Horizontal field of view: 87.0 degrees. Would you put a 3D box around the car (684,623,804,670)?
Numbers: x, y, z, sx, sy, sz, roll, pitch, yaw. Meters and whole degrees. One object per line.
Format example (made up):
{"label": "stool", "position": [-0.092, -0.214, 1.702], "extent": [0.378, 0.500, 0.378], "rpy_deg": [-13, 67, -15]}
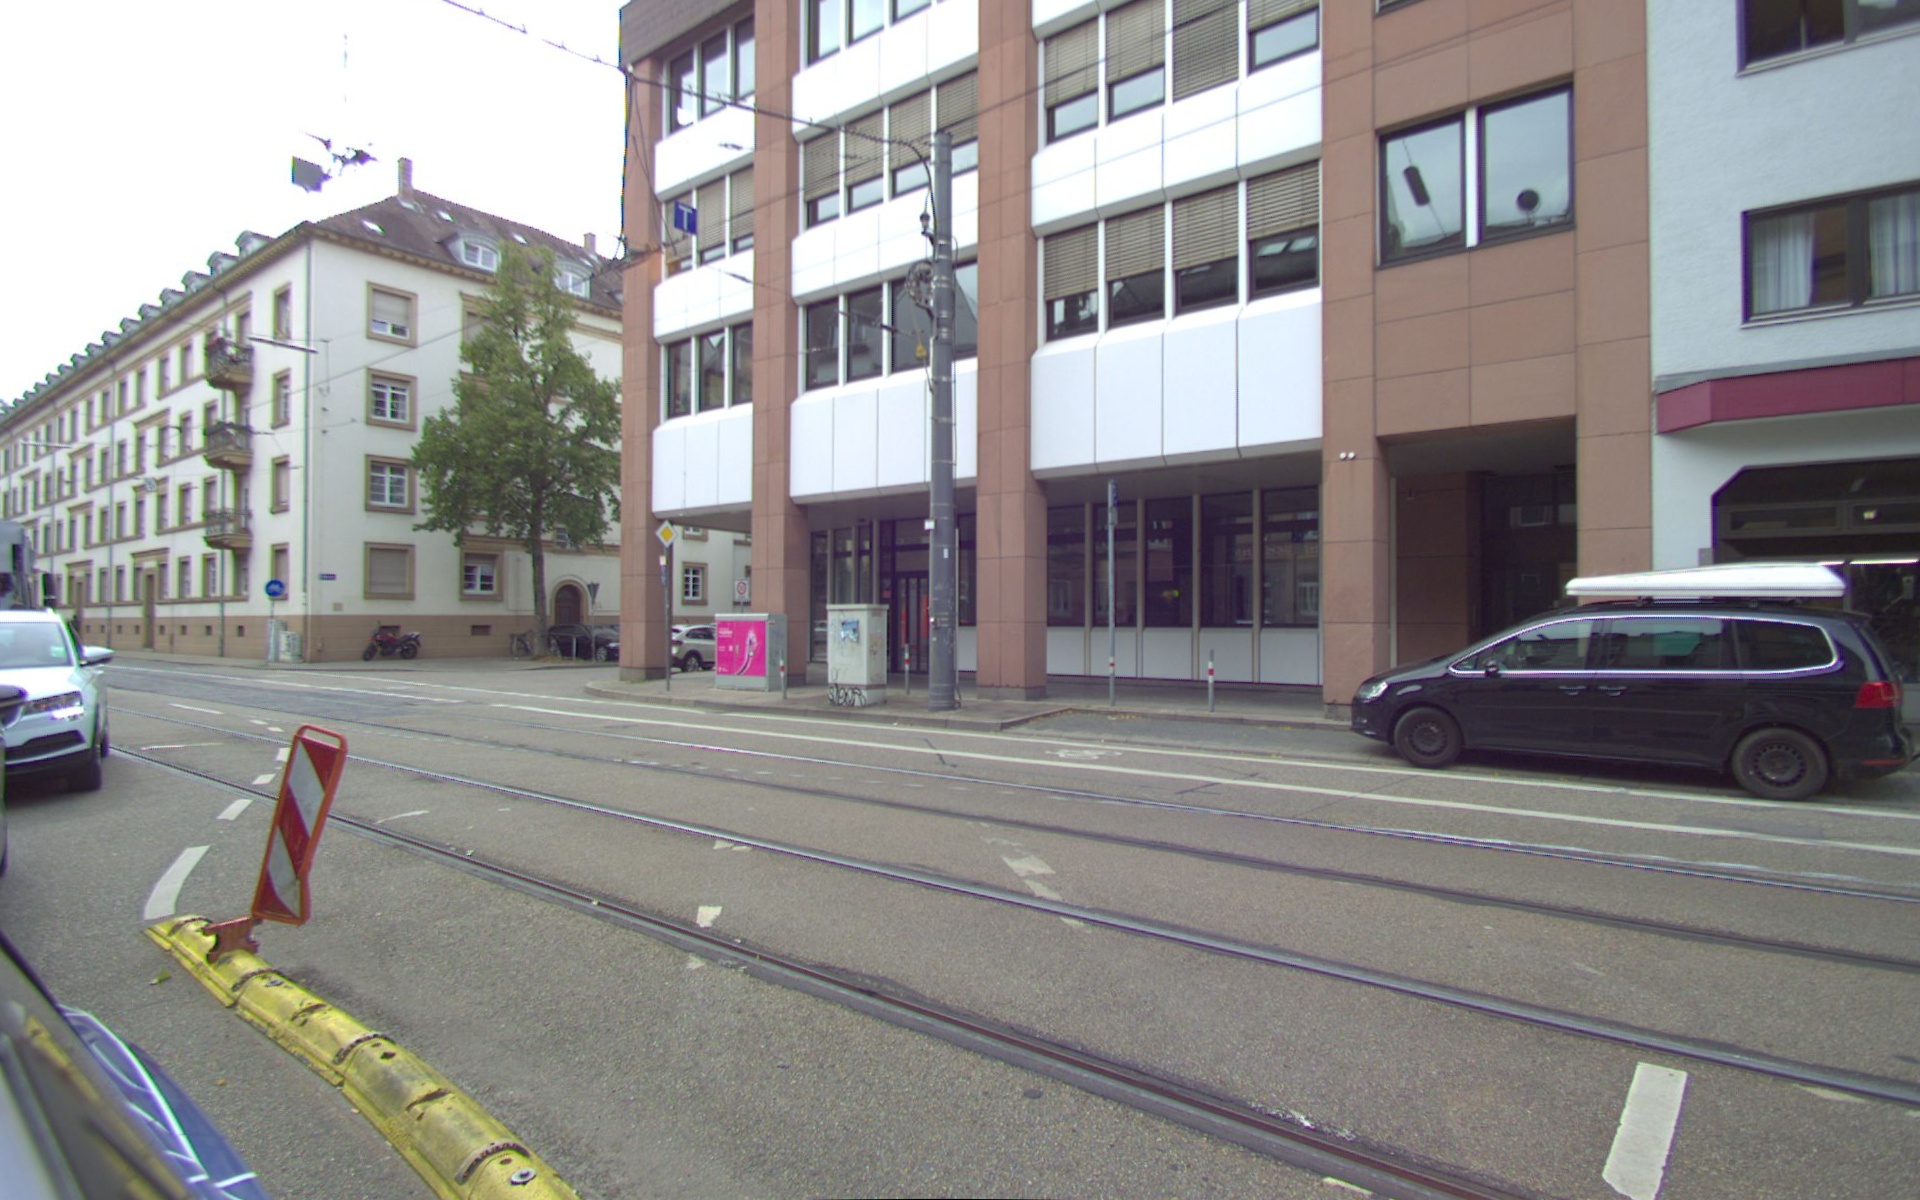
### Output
{"label": "car", "position": [-7.952, 1.681, 37.469], "extent": [3.985, 1.549, 1.777], "rpy_deg": [-1, -1, -40]}

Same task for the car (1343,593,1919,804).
{"label": "car", "position": [6.562, 0.834, 10.217], "extent": [4.694, 1.659, 1.789], "rpy_deg": [-2, 0, 40]}

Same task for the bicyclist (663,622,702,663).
{"label": "bicyclist", "position": [-10.218, 1.561, 37.250], "extent": [1.241, 1.473, 0.678], "rpy_deg": [1, -3, -43]}

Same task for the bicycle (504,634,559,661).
{"label": "bicycle", "position": [-17.522, 1.926, 41.423], "extent": [0.792, 1.094, 1.900], "rpy_deg": [-2, -2, 39]}

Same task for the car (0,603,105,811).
{"label": "car", "position": [-9.149, 0.880, 9.200], "extent": [4.284, 1.603, 1.749], "rpy_deg": [-2, -1, 45]}

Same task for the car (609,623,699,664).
{"label": "car", "position": [-12.254, 1.702, 40.418], "extent": [3.711, 1.559, 1.591], "rpy_deg": [-1, -2, 38]}

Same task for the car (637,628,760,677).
{"label": "car", "position": [-7.945, 1.558, 31.027], "extent": [1.606, 1.399, 3.611], "rpy_deg": [-1, -2, 31]}

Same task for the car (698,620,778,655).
{"label": "car", "position": [-9.848, 1.645, 44.767], "extent": [3.520, 1.473, 1.572], "rpy_deg": [-1, -2, 38]}

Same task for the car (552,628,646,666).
{"label": "car", "position": [-13.803, 1.766, 38.621], "extent": [3.869, 1.407, 1.591], "rpy_deg": [-1, -2, 38]}

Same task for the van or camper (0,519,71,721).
{"label": "van or camper", "position": [-20.300, 0.432, 19.962], "extent": [9.642, 3.447, 2.575], "rpy_deg": [-2, -2, 39]}

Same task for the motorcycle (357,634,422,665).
{"label": "motorcycle", "position": [-20.890, 1.792, 37.068], "extent": [0.792, 1.094, 1.900], "rpy_deg": [-2, -2, 39]}
